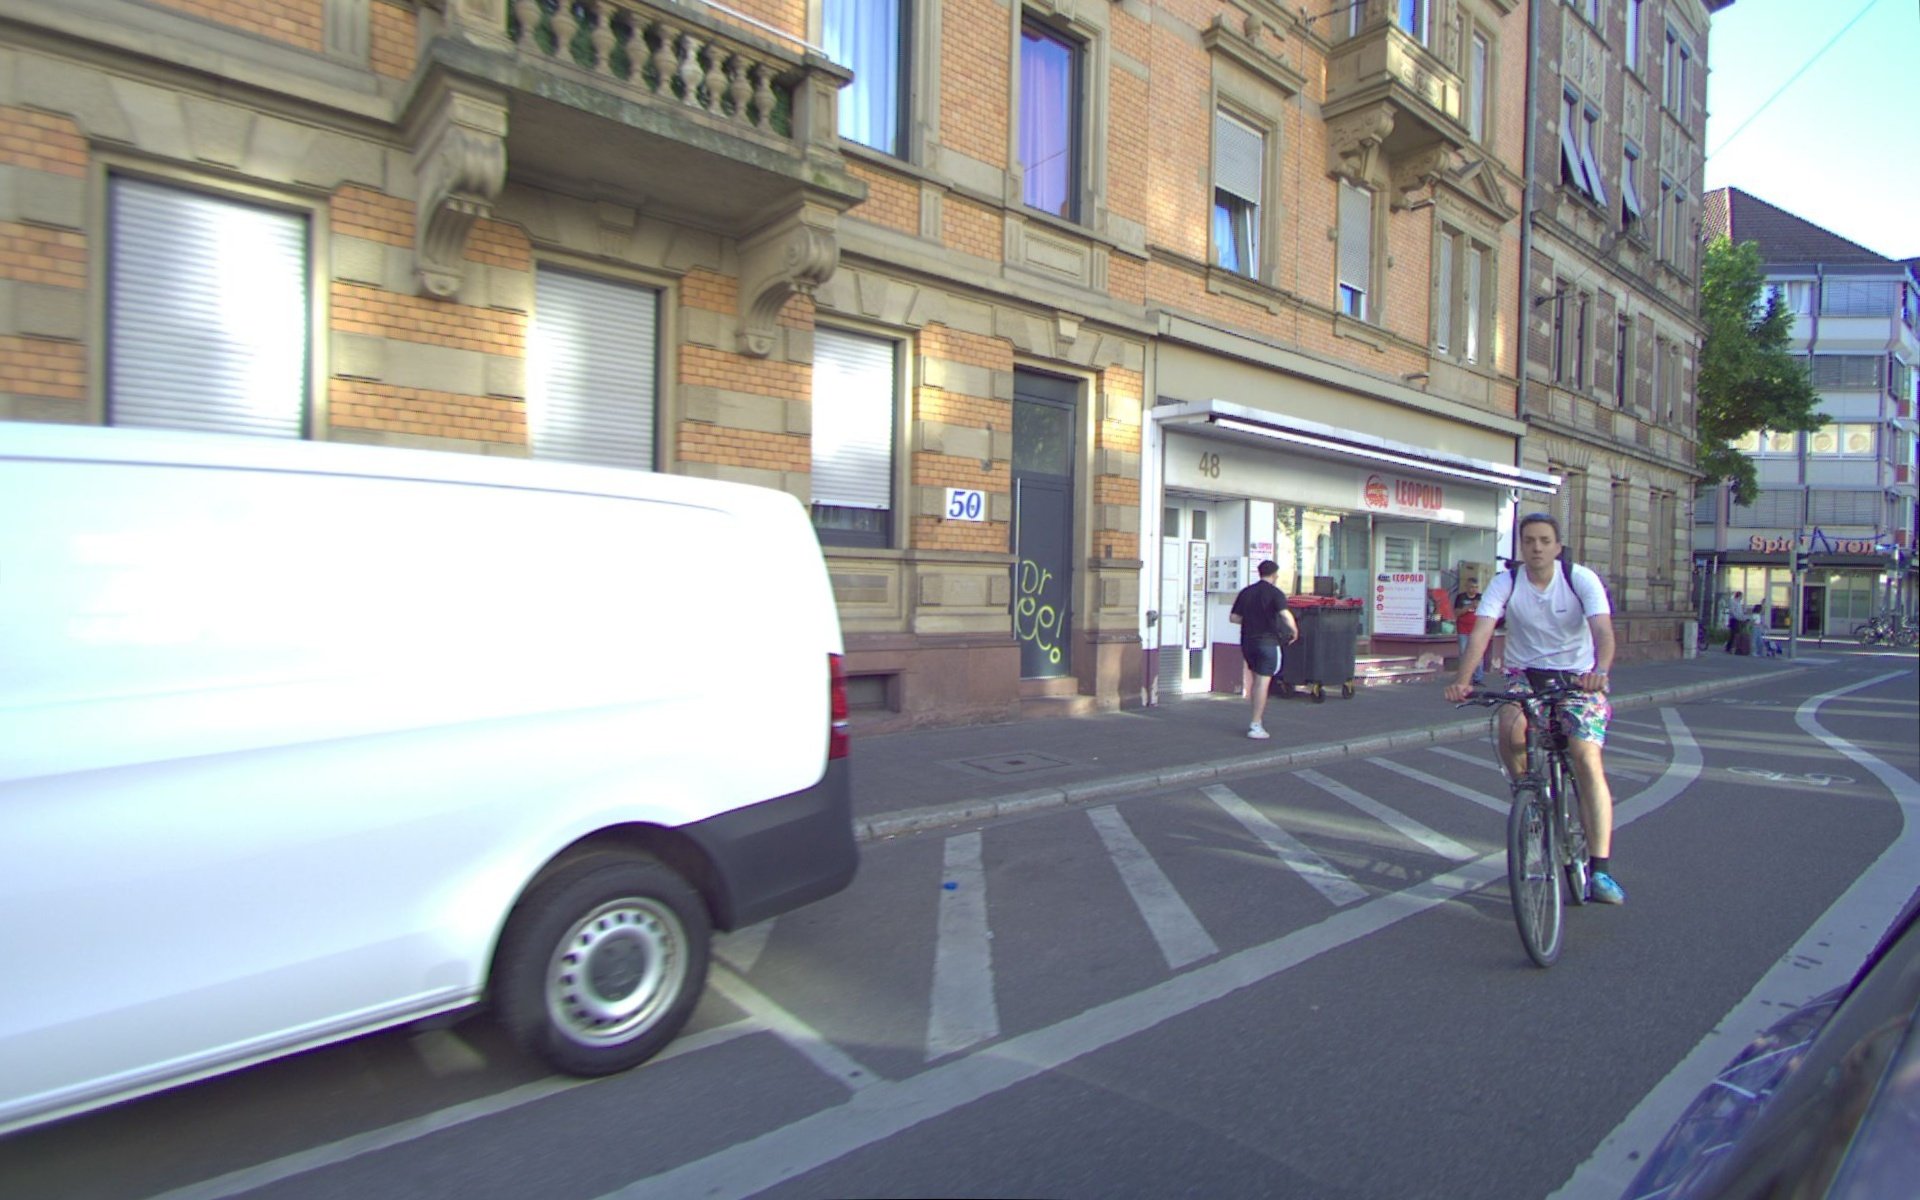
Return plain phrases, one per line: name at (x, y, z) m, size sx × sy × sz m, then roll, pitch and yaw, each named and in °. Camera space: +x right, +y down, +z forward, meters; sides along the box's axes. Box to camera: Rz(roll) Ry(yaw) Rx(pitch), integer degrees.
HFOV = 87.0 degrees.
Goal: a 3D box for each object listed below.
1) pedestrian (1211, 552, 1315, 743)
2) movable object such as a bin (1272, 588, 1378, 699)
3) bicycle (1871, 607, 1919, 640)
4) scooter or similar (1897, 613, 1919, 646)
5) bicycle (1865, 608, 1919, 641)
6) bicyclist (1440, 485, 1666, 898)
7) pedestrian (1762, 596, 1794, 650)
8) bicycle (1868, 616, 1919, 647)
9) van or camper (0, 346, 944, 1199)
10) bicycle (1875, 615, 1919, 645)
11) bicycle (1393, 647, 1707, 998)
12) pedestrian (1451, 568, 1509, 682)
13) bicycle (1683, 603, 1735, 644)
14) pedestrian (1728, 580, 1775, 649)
pedestrian at (3.052, 0.445, 10.200) m, size 0.743 × 1.836 × 0.674 m, roll 0°, pitch 1°, yaw -41°
movable object such as a bin at (4.841, 0.542, 13.399) m, size 1.277 × 1.364 × 0.777 m, roll 0°, pitch 1°, yaw -41°
bicycle at (36.637, 0.926, 39.175) m, size 0.617 × 1.180 × 1.949 m, roll 1°, pitch 2°, yaw -41°
scooter or similar at (38.268, 1.206, 40.156) m, size 0.581 × 1.244 × 1.483 m, roll 1°, pitch 3°, yaw -39°
bicycle at (35.581, 0.929, 38.279) m, size 0.554 × 1.120 × 1.949 m, roll 1°, pitch 2°, yaw -41°
bicyclist at (2.737, 0.364, 4.657) m, size 0.912 × 1.676 × 0.655 m, roll 1°, pitch 1°, yaw -44°
pedestrian at (22.156, 0.620, 27.425) m, size 0.575 × 1.432 × 0.570 m, roll 0°, pitch 0°, yaw 28°
bicycle at (36.077, 1.211, 38.672) m, size 0.554 × 1.120 × 1.949 m, roll 1°, pitch 2°, yaw -41°
van or camper at (-2.719, 0.489, 2.803) m, size 5.379 × 2.062 × 1.934 m, roll 0°, pitch 0°, yaw -41°
bicycle at (37.558, 1.208, 40.009) m, size 0.554 × 1.120 × 1.949 m, roll 1°, pitch 2°, yaw -41°
bicycle at (2.729, 0.839, 4.556) m, size 2.060 × 1.153 × 0.648 m, roll 0°, pitch 1°, yaw -43°
pedestrian at (8.237, 0.385, 16.052) m, size 0.576 × 1.750 × 0.471 m, roll 3°, pitch 1°, yaw -4°
bicycle at (22.315, 0.686, 30.175) m, size 0.437 × 1.129 × 1.810 m, roll 2°, pitch 1°, yaw 10°
pedestrian at (21.908, 0.384, 28.029) m, size 0.843 × 1.830 × 0.867 m, roll 3°, pitch 0°, yaw 29°
